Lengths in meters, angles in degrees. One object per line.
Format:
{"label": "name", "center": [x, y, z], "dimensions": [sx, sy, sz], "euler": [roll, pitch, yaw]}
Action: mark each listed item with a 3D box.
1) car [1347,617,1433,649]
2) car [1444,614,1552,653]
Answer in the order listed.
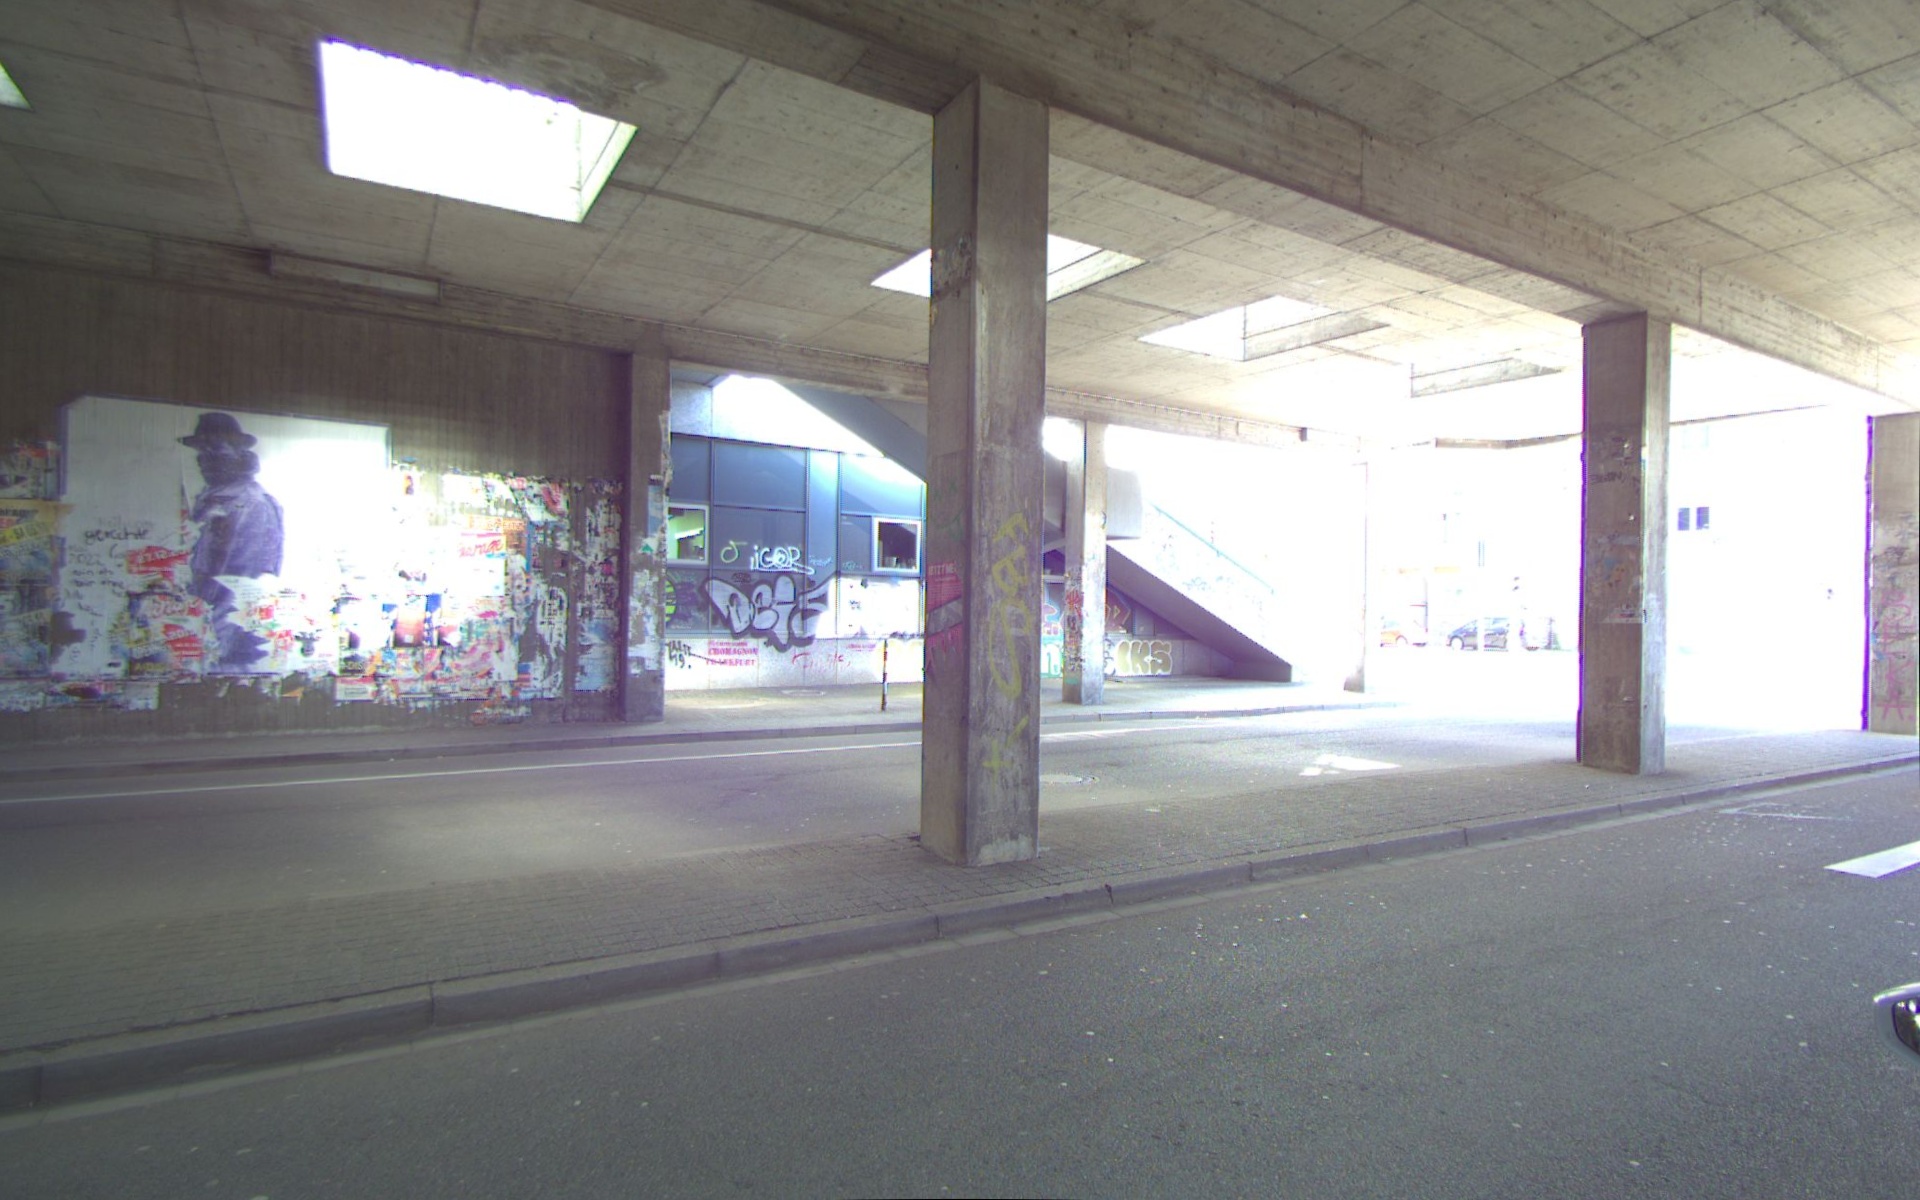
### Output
{"label": "car", "center": [22.482, 1.704, 52.662], "dimensions": [1.876, 1.561, 3.861], "euler": [0, 0, -29]}
{"label": "car", "center": [25.488, 1.555, 47.715], "dimensions": [1.939, 1.747, 4.142], "euler": [0, 0, -29]}
